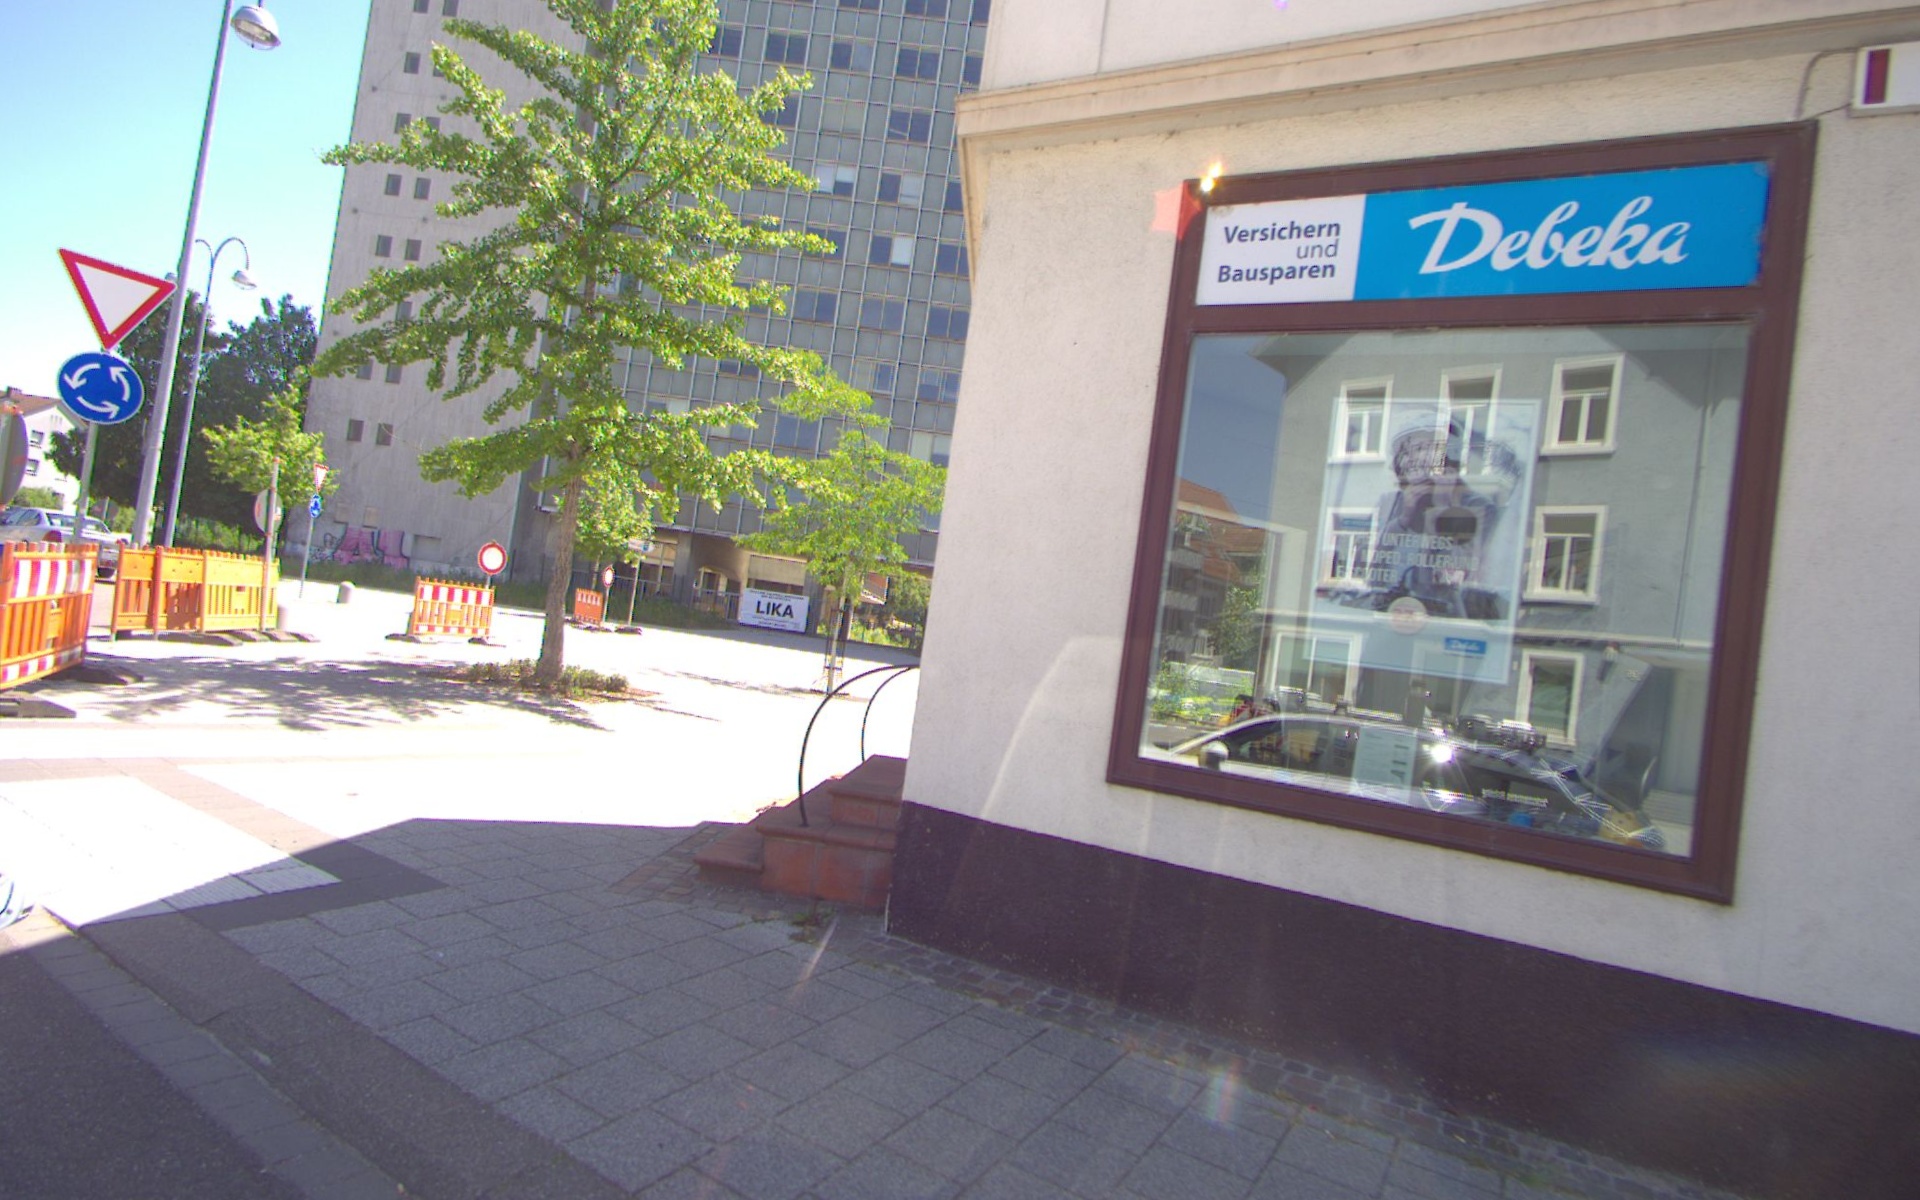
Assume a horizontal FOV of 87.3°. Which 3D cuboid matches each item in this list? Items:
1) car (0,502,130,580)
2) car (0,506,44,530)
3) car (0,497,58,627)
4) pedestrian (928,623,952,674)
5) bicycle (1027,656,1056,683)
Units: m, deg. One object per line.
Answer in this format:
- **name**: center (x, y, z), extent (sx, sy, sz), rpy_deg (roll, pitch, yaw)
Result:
- **car**: center (-21.460, -1.426, 23.771), extent (3.650, 1.453, 1.741), rpy_deg (6, -1, 33)
- **car**: center (-71.345, -6.231, 76.330), extent (1.725, 1.453, 3.684), rpy_deg (8, -1, -28)
- **car**: center (-12.091, -0.608, 10.899), extent (1.852, 1.546, 4.491), rpy_deg (8, -5, -21)
- **pedestrian**: center (-0.706, 1.702, 35.605), extent (0.555, 1.729, 0.487), rpy_deg (7, 1, 10)
- **bicycle**: center (3.196, 2.723, 39.607), extent (0.442, 0.917, 1.749), rpy_deg (8, -2, -16)
